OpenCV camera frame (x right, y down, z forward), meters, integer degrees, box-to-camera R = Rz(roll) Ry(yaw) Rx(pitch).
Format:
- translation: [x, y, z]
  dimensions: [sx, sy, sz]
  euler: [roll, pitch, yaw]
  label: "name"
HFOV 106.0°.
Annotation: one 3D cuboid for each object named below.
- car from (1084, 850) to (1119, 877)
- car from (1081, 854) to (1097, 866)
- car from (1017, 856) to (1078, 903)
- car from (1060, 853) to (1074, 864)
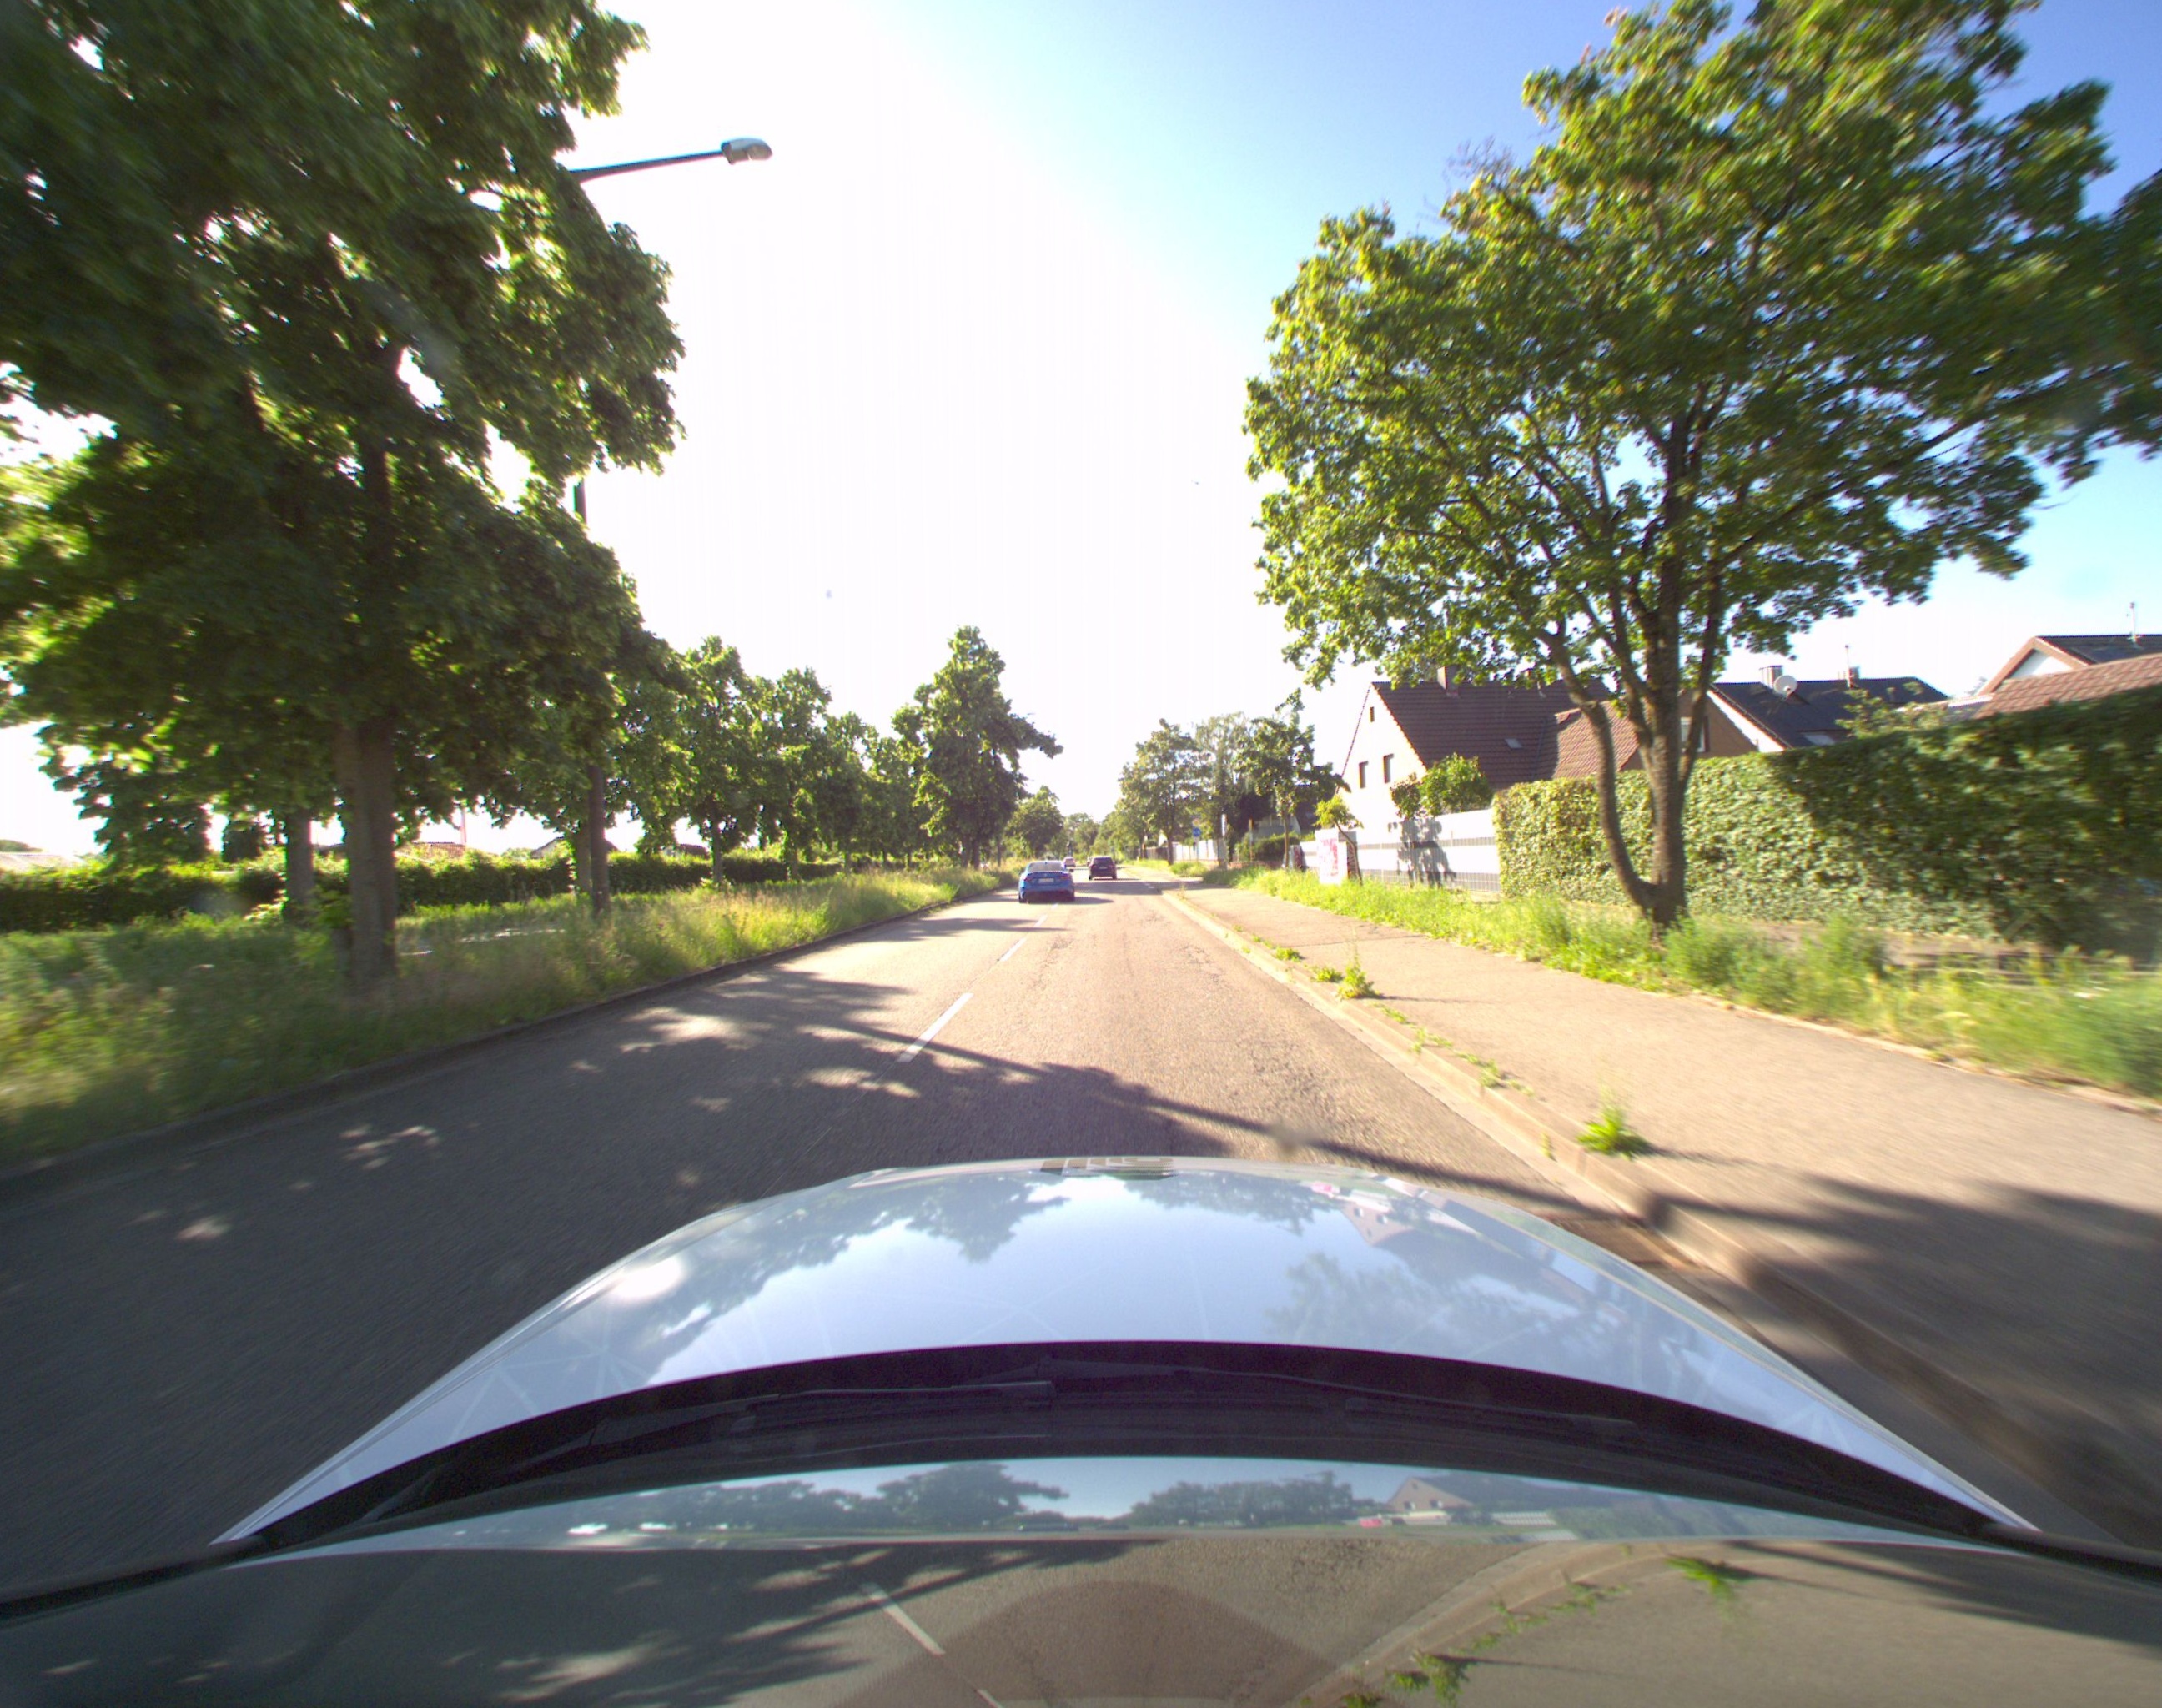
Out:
- translation: [1.243, 0.599, 51.818]
  dimensions: [1.911, 1.579, 4.178]
  euler: [-2, 0, -2]
  label: "car"
- translation: [1.184, 0.916, 120.956]
  dimensions: [1.912, 1.678, 4.005]
  euler: [-1, -1, -5]
  label: "car"
- translation: [-1.109, 0.853, 28.799]
  dimensions: [1.832, 1.474, 4.185]
  euler: [-3, 0, 1]
  label: "car"
- translation: [-1.996, 0.604, 116.158]
  dimensions: [1.909, 1.512, 4.066]
  euler: [-2, 0, -1]
  label: "car"
